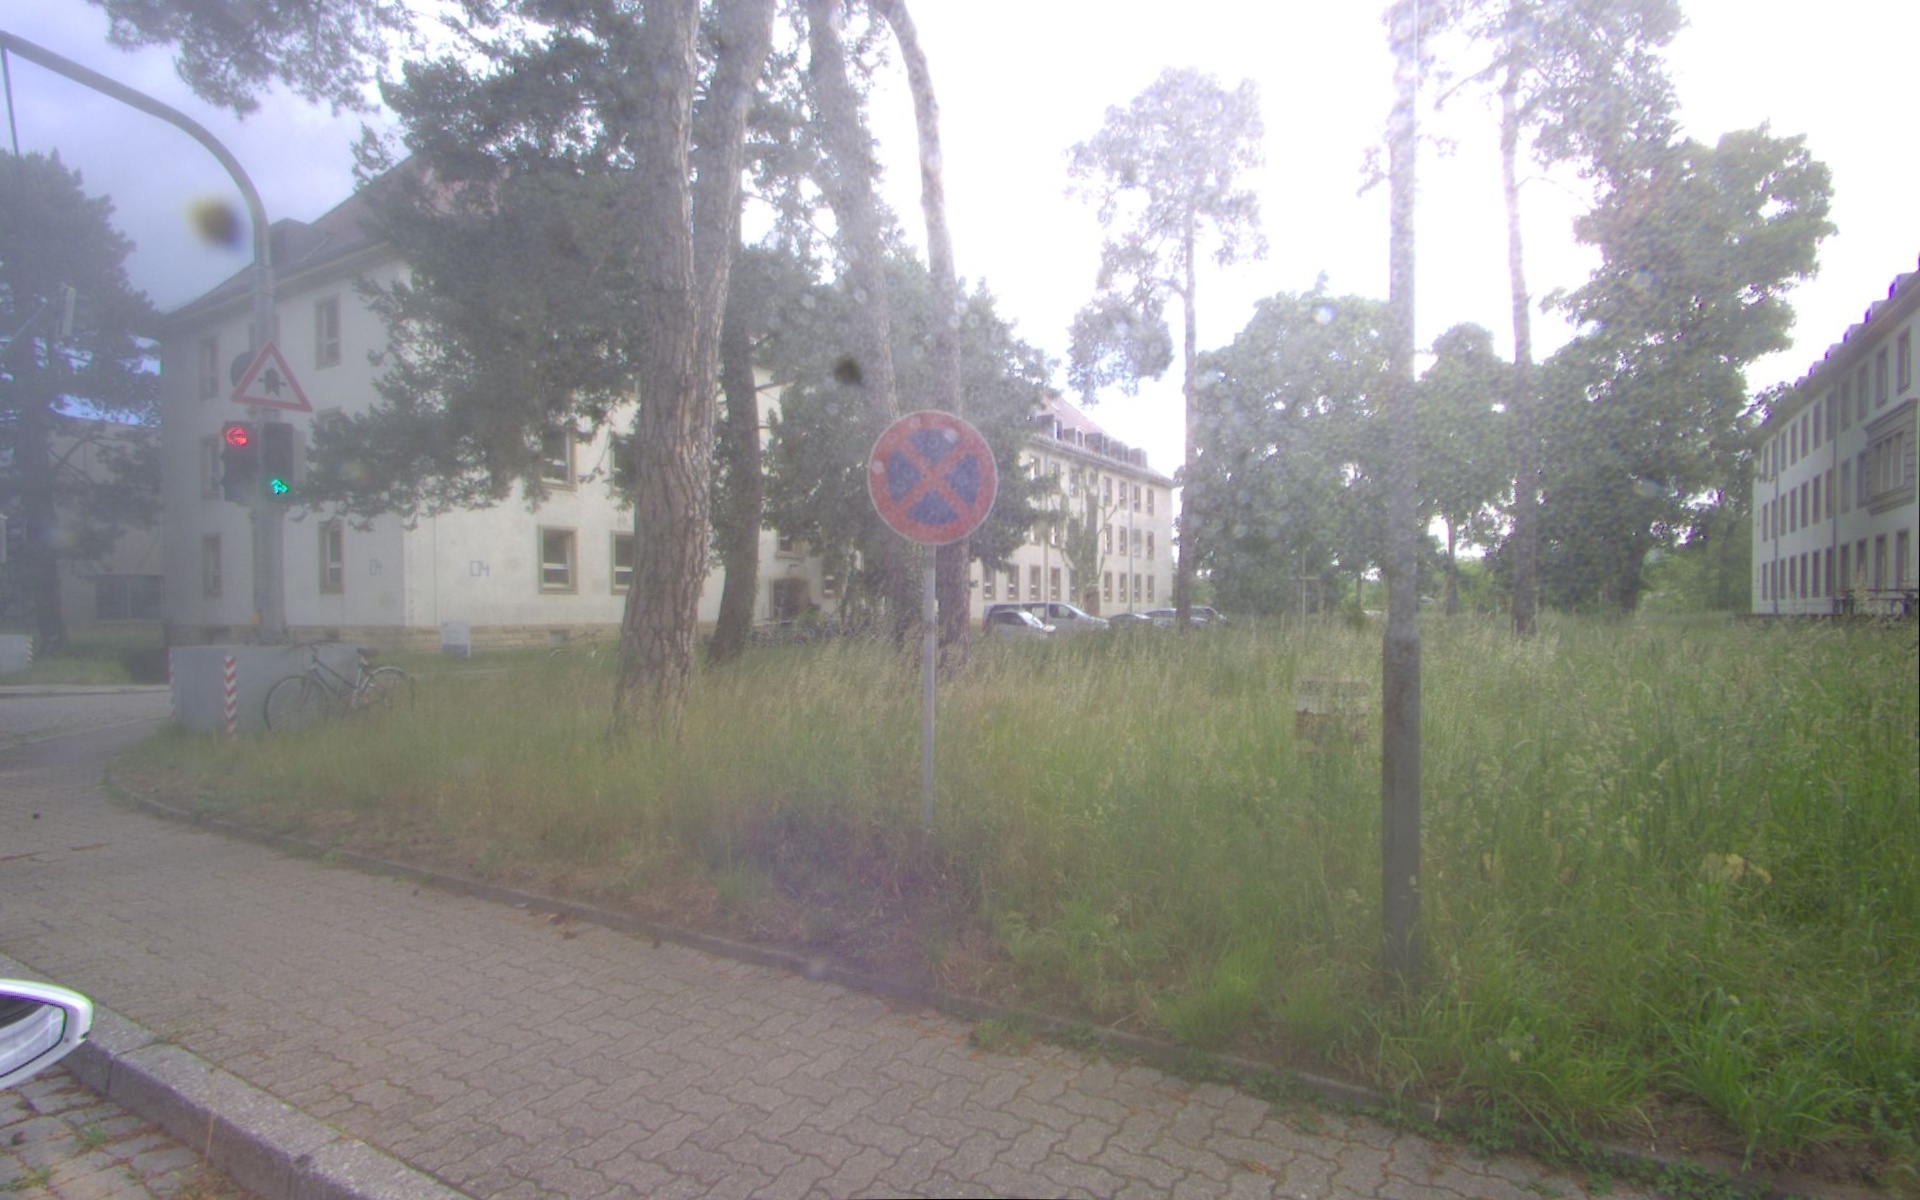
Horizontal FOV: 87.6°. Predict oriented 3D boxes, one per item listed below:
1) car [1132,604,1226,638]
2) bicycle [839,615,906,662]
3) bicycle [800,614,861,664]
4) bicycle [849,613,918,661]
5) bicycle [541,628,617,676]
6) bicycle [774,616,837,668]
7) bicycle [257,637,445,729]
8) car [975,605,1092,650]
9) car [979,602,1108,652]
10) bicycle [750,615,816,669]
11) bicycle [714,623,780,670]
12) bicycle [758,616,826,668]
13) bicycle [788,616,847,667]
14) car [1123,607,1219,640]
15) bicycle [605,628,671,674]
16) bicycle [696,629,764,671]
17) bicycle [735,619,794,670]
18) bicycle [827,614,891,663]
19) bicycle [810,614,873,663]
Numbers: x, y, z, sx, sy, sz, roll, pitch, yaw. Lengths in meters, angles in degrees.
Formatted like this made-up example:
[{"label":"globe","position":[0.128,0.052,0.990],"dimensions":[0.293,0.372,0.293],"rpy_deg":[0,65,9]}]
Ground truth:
[{"label":"car","position":[11.944,1.156,54.747],"dimensions":[4.629,1.796,1.989],"rpy_deg":[0,-1,33]},{"label":"bicycle","position":[-2.558,1.100,29.097],"dimensions":[2.104,1.337,0.553],"rpy_deg":[0,0,37]},{"label":"bicycle","position":[-3.587,1.051,27.690],"dimensions":[1.829,1.337,0.553],"rpy_deg":[0,0,37]},{"label":"bicycle","position":[-2.288,1.076,29.766],"dimensions":[2.075,1.385,0.755],"rpy_deg":[0,0,37]},{"label":"bicycle","position":[-8.462,1.135,22.287],"dimensions":[0.522,0.993,1.618],"rpy_deg":[0,0,31]},{"label":"bicycle","position":[-4.147,1.103,26.885],"dimensions":[1.895,1.337,0.504],"rpy_deg":[0,0,37]},{"label":"bicycle","position":[-6.608,0.869,10.957],"dimensions":[0.564,0.885,1.697],"rpy_deg":[0,0,32]},{"label":"car","position":[2.671,0.967,36.479],"dimensions":[3.877,1.550,1.852],"rpy_deg":[0,0,34]},{"label":"car","position":[3.369,1.057,40.016],"dimensions":[4.774,1.935,2.237],"rpy_deg":[0,0,17]},{"label":"bicycle","position":[-4.570,1.067,25.786],"dimensions":[2.021,1.337,0.436],"rpy_deg":[0,0,37]},{"label":"bicycle","position":[-5.329,1.143,24.984],"dimensions":[1.877,1.116,0.539],"rpy_deg":[0,0,37]},{"label":"bicycle","position":[-4.436,1.085,26.372],"dimensions":[1.950,1.337,0.574],"rpy_deg":[0,0,37]},{"label":"bicycle","position":[-3.889,1.114,27.254],"dimensions":[1.893,1.337,0.390],"rpy_deg":[0,0,37]},{"label":"car","position":[10.886,1.183,51.645],"dimensions":[4.452,1.639,1.989],"rpy_deg":[0,-1,33]},{"label":"bicycle","position":[-7.662,1.196,23.856],"dimensions":[0.535,1.028,1.534],"rpy_deg":[0,0,31]},{"label":"bicycle","position":[-5.626,1.195,24.401],"dimensions":[1.877,0.961,0.539],"rpy_deg":[0,0,37]},{"label":"bicycle","position":[-4.967,1.115,25.439],"dimensions":[1.618,1.231,0.539],"rpy_deg":[0,0,37]},{"label":"bicycle","position":[-2.910,1.084,28.649],"dimensions":[1.989,1.337,0.538],"rpy_deg":[0,0,37]},{"label":"bicycle","position":[-3.355,1.067,28.263],"dimensions":[1.913,1.337,0.551],"rpy_deg":[0,0,37]}]
